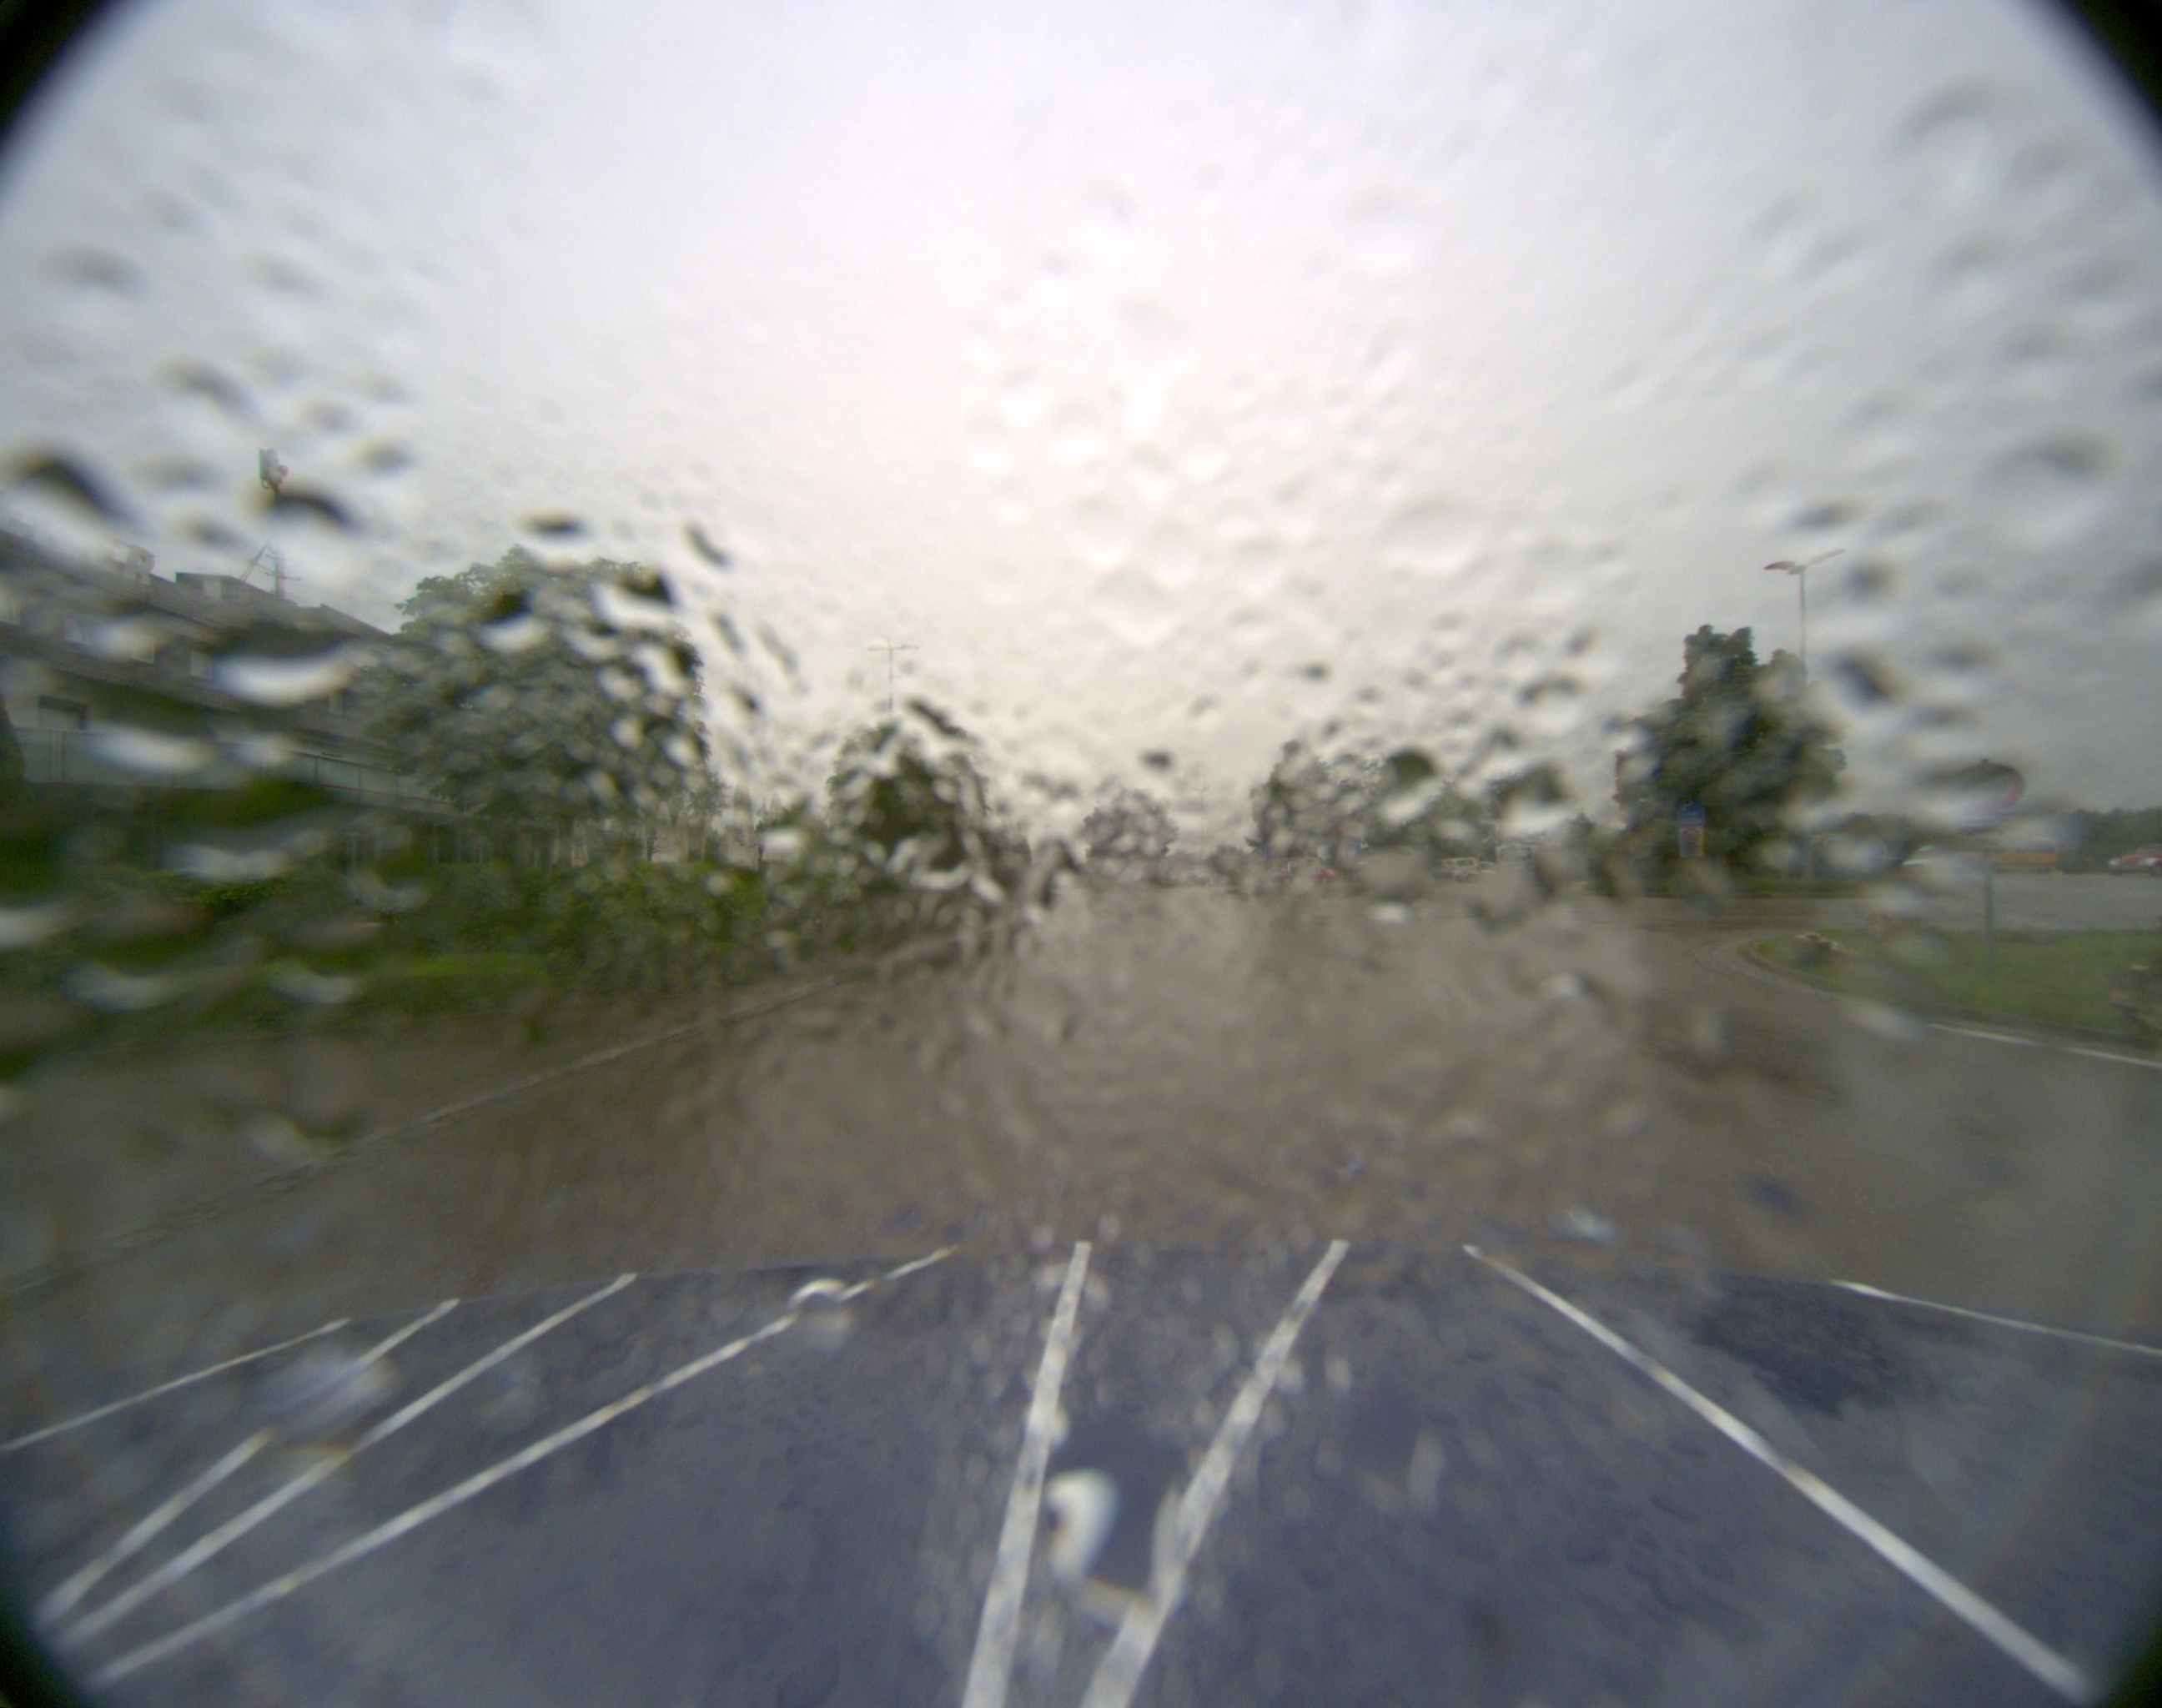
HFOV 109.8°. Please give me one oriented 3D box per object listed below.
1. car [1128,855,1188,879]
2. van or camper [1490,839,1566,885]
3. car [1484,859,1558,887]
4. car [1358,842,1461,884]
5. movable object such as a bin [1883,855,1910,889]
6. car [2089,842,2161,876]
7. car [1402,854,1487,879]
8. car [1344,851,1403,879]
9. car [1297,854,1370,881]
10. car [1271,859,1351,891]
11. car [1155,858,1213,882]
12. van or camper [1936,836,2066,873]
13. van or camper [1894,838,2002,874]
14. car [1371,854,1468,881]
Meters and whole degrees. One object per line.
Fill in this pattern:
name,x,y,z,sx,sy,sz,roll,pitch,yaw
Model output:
car,5.677,0.927,56.081,4.037,1.683,1.803,-1,0,40
van or camper,22.496,0.336,38.130,2.188,1.934,5.206,0,3,43
car,34.239,1.449,59.173,4.755,2.069,2.004,-1,0,38
car,17.907,0.508,41.520,4.755,2.175,2.004,-1,0,38
movable object such as a bin,23.470,0.512,21.868,0.489,0.933,0.449,-1,1,-31
car,50.980,0.231,36.219,4.055,1.546,1.549,0,0,-4
car,24.123,0.816,50.542,4.755,1.577,2.004,-1,0,38
car,21.697,0.808,56.405,3.775,2.001,1.790,-2,-1,34
car,17.356,0.924,52.282,4.388,1.768,1.929,-1,0,35
car,14.427,1.296,47.773,4.388,1.874,1.929,-1,0,35
car,7.873,1.212,57.821,4.039,1.683,1.715,-1,0,22
van or camper,58.129,0.009,48.072,6.417,2.233,2.133,0,0,-7
van or camper,68.846,0.125,60.378,7.067,2.700,1.998,0,2,-7
car,19.482,0.780,43.843,4.755,1.463,1.890,-1,0,38
